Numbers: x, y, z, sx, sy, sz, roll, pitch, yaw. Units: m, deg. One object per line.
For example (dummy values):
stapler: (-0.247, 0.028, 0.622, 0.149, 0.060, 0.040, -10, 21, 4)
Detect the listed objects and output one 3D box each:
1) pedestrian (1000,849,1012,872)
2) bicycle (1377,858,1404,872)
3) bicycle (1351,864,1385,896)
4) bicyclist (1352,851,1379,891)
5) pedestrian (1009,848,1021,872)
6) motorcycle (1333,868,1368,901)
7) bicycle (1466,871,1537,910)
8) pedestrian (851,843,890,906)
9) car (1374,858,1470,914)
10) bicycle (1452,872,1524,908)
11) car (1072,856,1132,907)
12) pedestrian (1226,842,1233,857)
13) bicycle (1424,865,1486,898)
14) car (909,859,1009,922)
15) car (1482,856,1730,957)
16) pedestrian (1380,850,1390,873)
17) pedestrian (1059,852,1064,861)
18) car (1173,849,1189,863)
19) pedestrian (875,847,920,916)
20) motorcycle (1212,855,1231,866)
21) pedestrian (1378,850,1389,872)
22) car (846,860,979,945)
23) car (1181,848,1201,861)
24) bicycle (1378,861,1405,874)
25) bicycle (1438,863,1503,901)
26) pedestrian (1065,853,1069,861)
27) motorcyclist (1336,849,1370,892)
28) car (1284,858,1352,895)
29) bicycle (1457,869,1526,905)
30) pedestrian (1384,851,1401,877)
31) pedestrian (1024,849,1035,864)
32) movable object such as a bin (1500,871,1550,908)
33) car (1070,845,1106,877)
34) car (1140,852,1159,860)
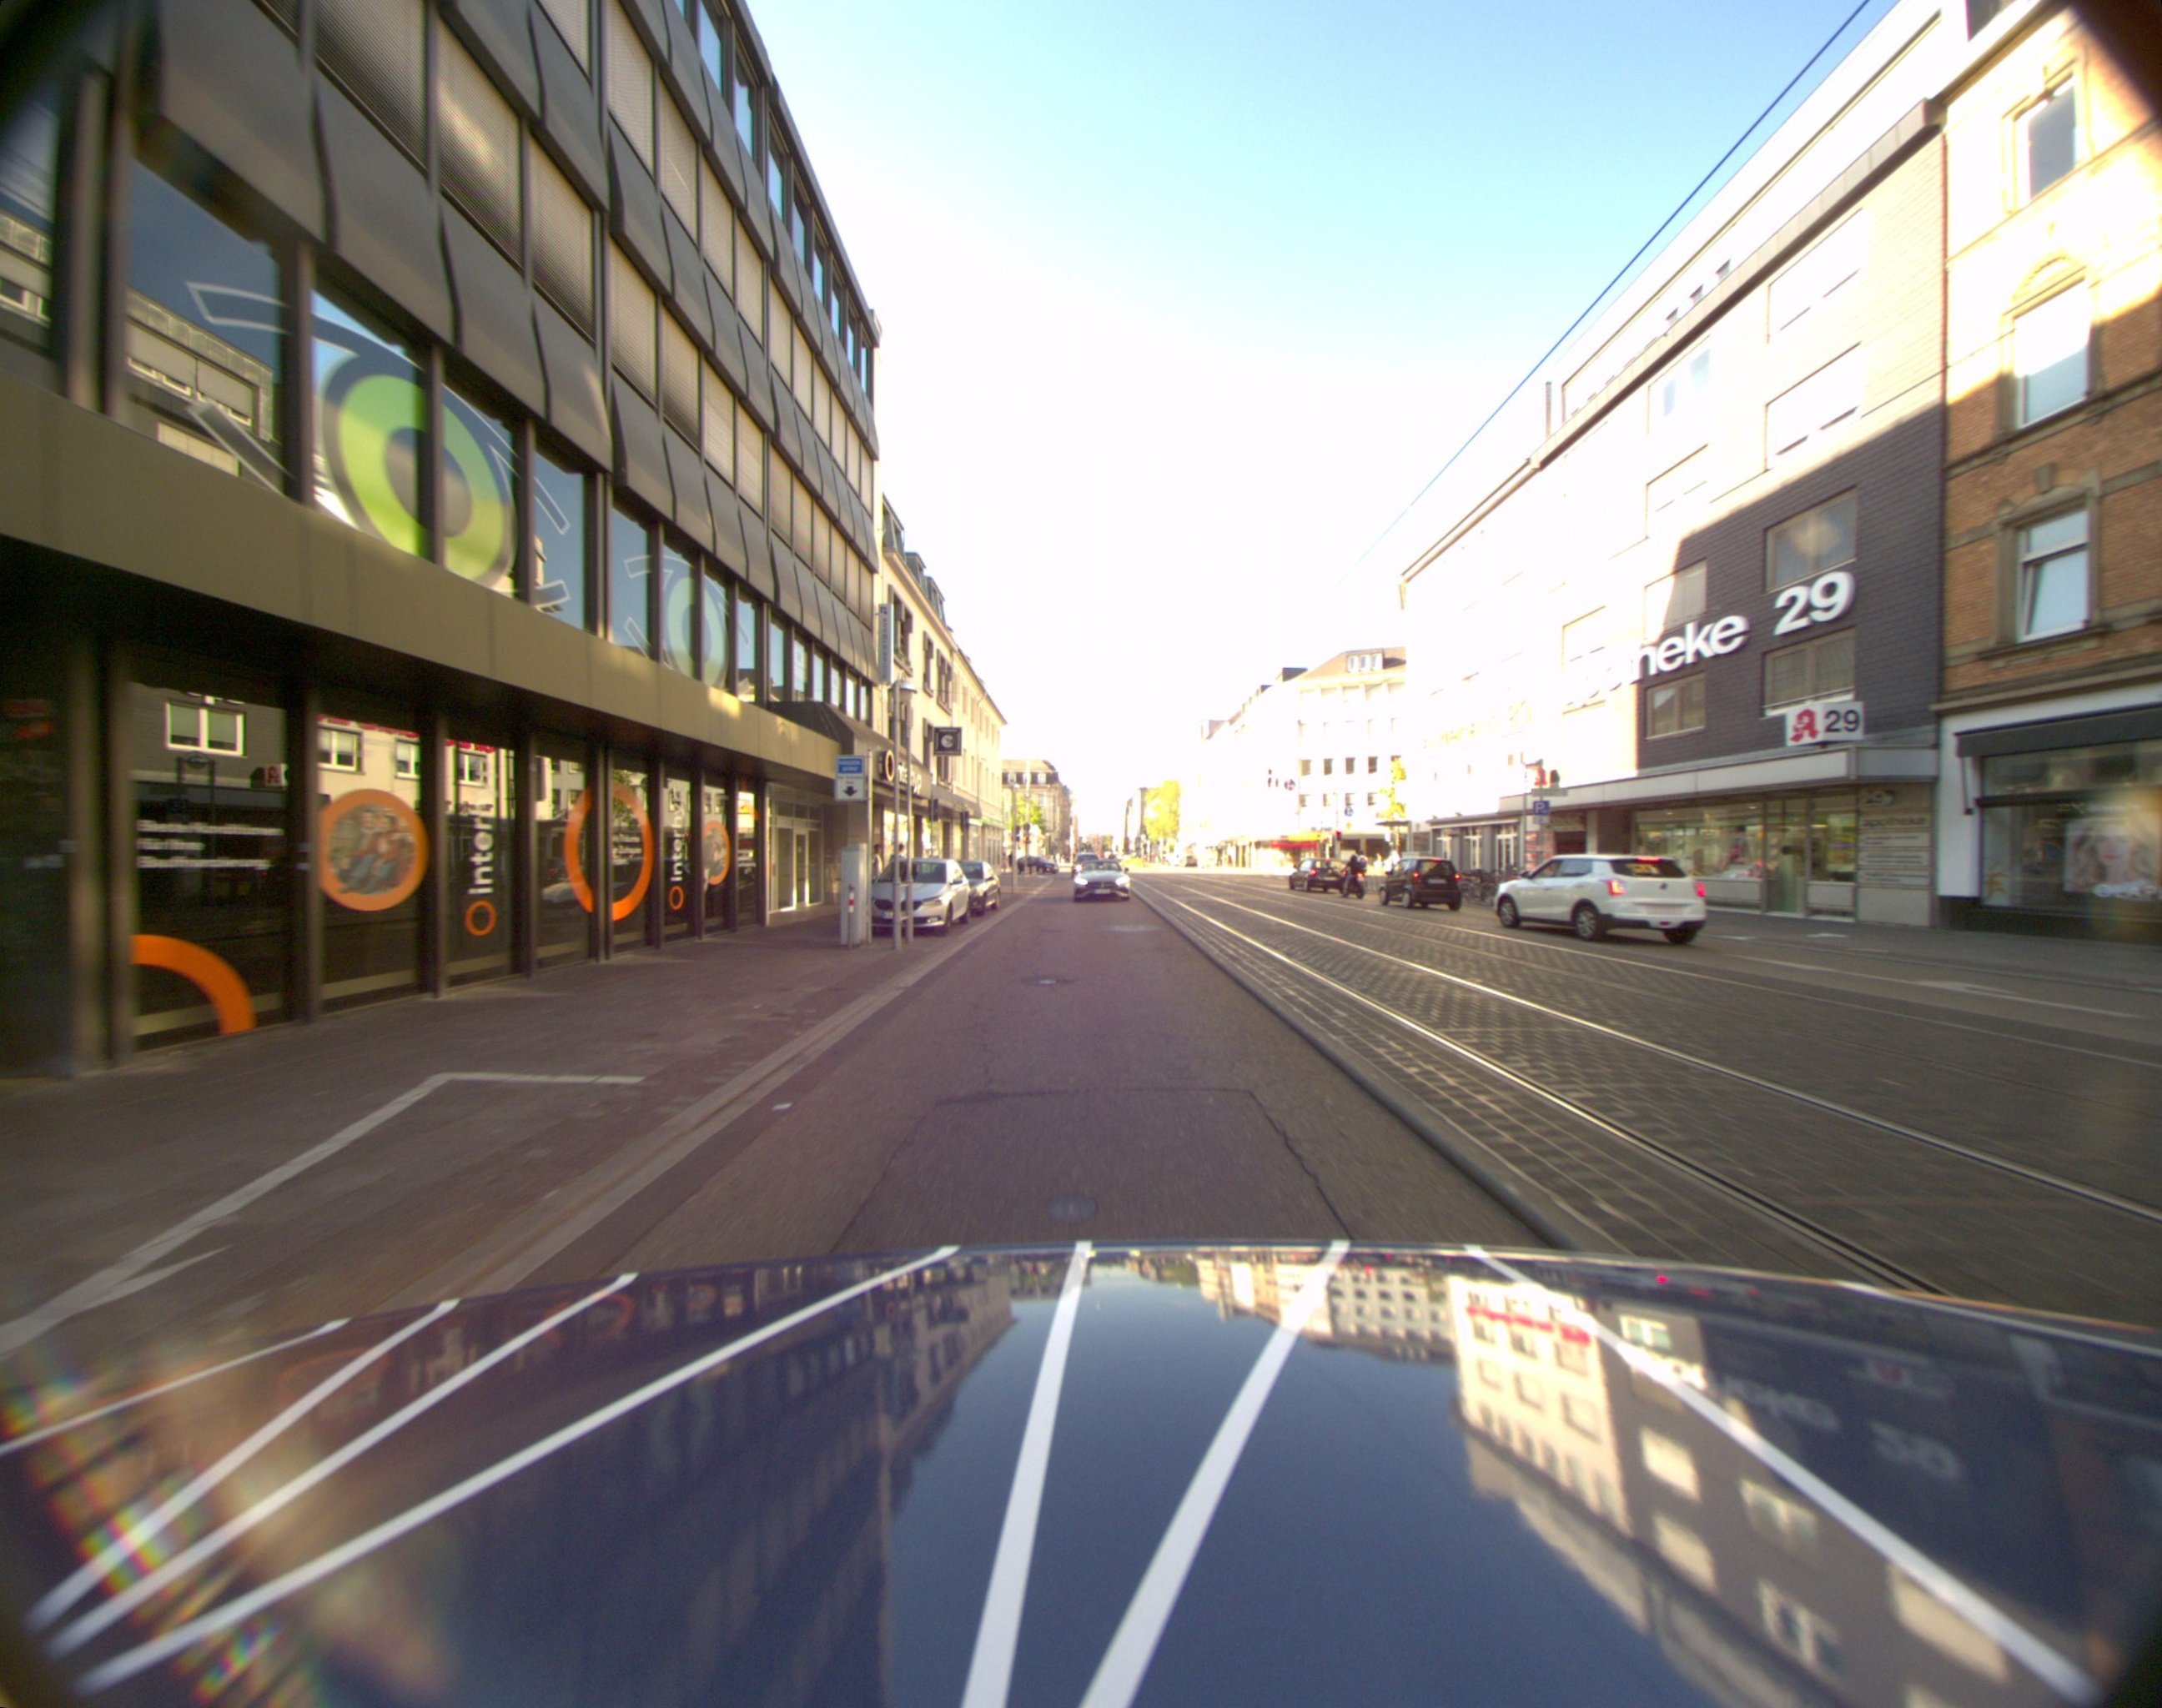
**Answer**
pedestrian: (-5.710, 0.502, 57.984, 0.648, 1.749, 0.575, 0, 2, 24)
bicycle: (22.750, 0.809, 55.848, 1.722, 1.001, 0.762, 0, -2, 13)
bicycle: (12.391, 1.093, 32.851, 0.752, 1.285, 2.025, 0, 1, 1)
bicyclist: (12.333, 0.724, 32.925, 0.752, 1.719, 1.146, 0, 1, 2)
pedestrian: (-5.058, 0.457, 57.956, 0.680, 1.831, 0.643, 0, 1, 24)
motorcycle: (9.933, 1.107, 28.104, 0.571, 1.113, 2.117, 1, 1, 1)
bicycle: (13.208, 1.150, 23.898, 1.940, 1.183, 0.551, 0, 1, -3)
pedestrian: (-5.902, 0.563, 21.390, 0.781, 1.742, 1.032, 0, 1, 2)
car: (10.102, 0.901, 22.698, 1.652, 1.557, 2.829, 0, 0, 1)
bicycle: (13.215, 1.152, 24.711, 1.940, 1.104, 0.773, 0, 1, -4)
car: (0.691, 0.886, 26.596, 1.910, 1.454, 4.362, -1, 2, 1)
pedestrian: (16.644, -0.463, 85.299, 0.710, 1.699, 0.561, 0, 0, 22)
bicycle: (13.879, 1.009, 28.248, 1.940, 1.185, 0.773, 0, 1, -4)
car: (-3.176, 0.912, 20.669, 1.852, 1.453, 4.302, 1, 0, 3)
car: (9.830, 0.880, 14.732, 1.894, 1.585, 4.263, 1, 0, 1)
pedestrian: (22.645, 0.536, 56.647, 0.558, 1.718, 0.781, 0, 1, 10)
pedestrian: (-2.894, 0.398, 111.746, 0.622, 1.266, 0.779, 0, 1, -4)
car: (14.155, 0.274, 107.586, 1.998, 2.002, 4.843, 0, 0, 4)
pedestrian: (-5.060, 0.729, 20.996, 0.925, 1.832, 0.999, 2, 1, 2)
motorcycle: (18.303, 0.855, 98.879, 2.254, 1.496, 1.000, 0, 0, -2)
pedestrian: (22.860, 0.531, 57.484, 0.653, 1.703, 0.793, 0, 1, 10)
car: (-3.298, 0.891, 15.701, 1.749, 1.453, 4.295, 0, 0, 1)
car: (14.372, 0.049, 99.297, 1.998, 1.696, 4.000, 0, 0, 1)
bicycle: (23.049, 1.025, 56.439, 1.791, 0.962, 0.554, 0, 0, 13)
bicycle: (13.812, 0.982, 26.959, 1.940, 1.272, 0.773, -1, 1, -4)
pedestrian: (-2.003, 0.425, 111.960, 0.509, 1.266, 0.719, 0, 1, -7)
motorcyclist: (9.960, 0.594, 27.864, 0.805, 1.549, 1.146, 1, 1, 2)
car: (10.176, 0.924, 32.934, 1.717, 1.437, 4.139, 2, 0, 1)
bicycle: (13.792, 1.096, 25.567, 1.940, 1.146, 0.773, -1, 1, -4)
pedestrian: (22.859, 0.758, 55.807, 1.000, 1.855, 0.781, 0, -2, 10)
pedestrian: (-5.614, 0.308, 83.136, 0.947, 1.654, 0.915, 0, 0, -24)
movable object such as a bin: (13.632, 1.086, 23.348, 1.102, 1.065, 0.735, -1, 1, 1)
car: (0.420, 0.417, 48.457, 1.911, 1.860, 4.094, -1, 2, -5)
car: (14.674, 0.415, 162.894, 3.996, 1.787, 2.000, 0, 0, 1)
